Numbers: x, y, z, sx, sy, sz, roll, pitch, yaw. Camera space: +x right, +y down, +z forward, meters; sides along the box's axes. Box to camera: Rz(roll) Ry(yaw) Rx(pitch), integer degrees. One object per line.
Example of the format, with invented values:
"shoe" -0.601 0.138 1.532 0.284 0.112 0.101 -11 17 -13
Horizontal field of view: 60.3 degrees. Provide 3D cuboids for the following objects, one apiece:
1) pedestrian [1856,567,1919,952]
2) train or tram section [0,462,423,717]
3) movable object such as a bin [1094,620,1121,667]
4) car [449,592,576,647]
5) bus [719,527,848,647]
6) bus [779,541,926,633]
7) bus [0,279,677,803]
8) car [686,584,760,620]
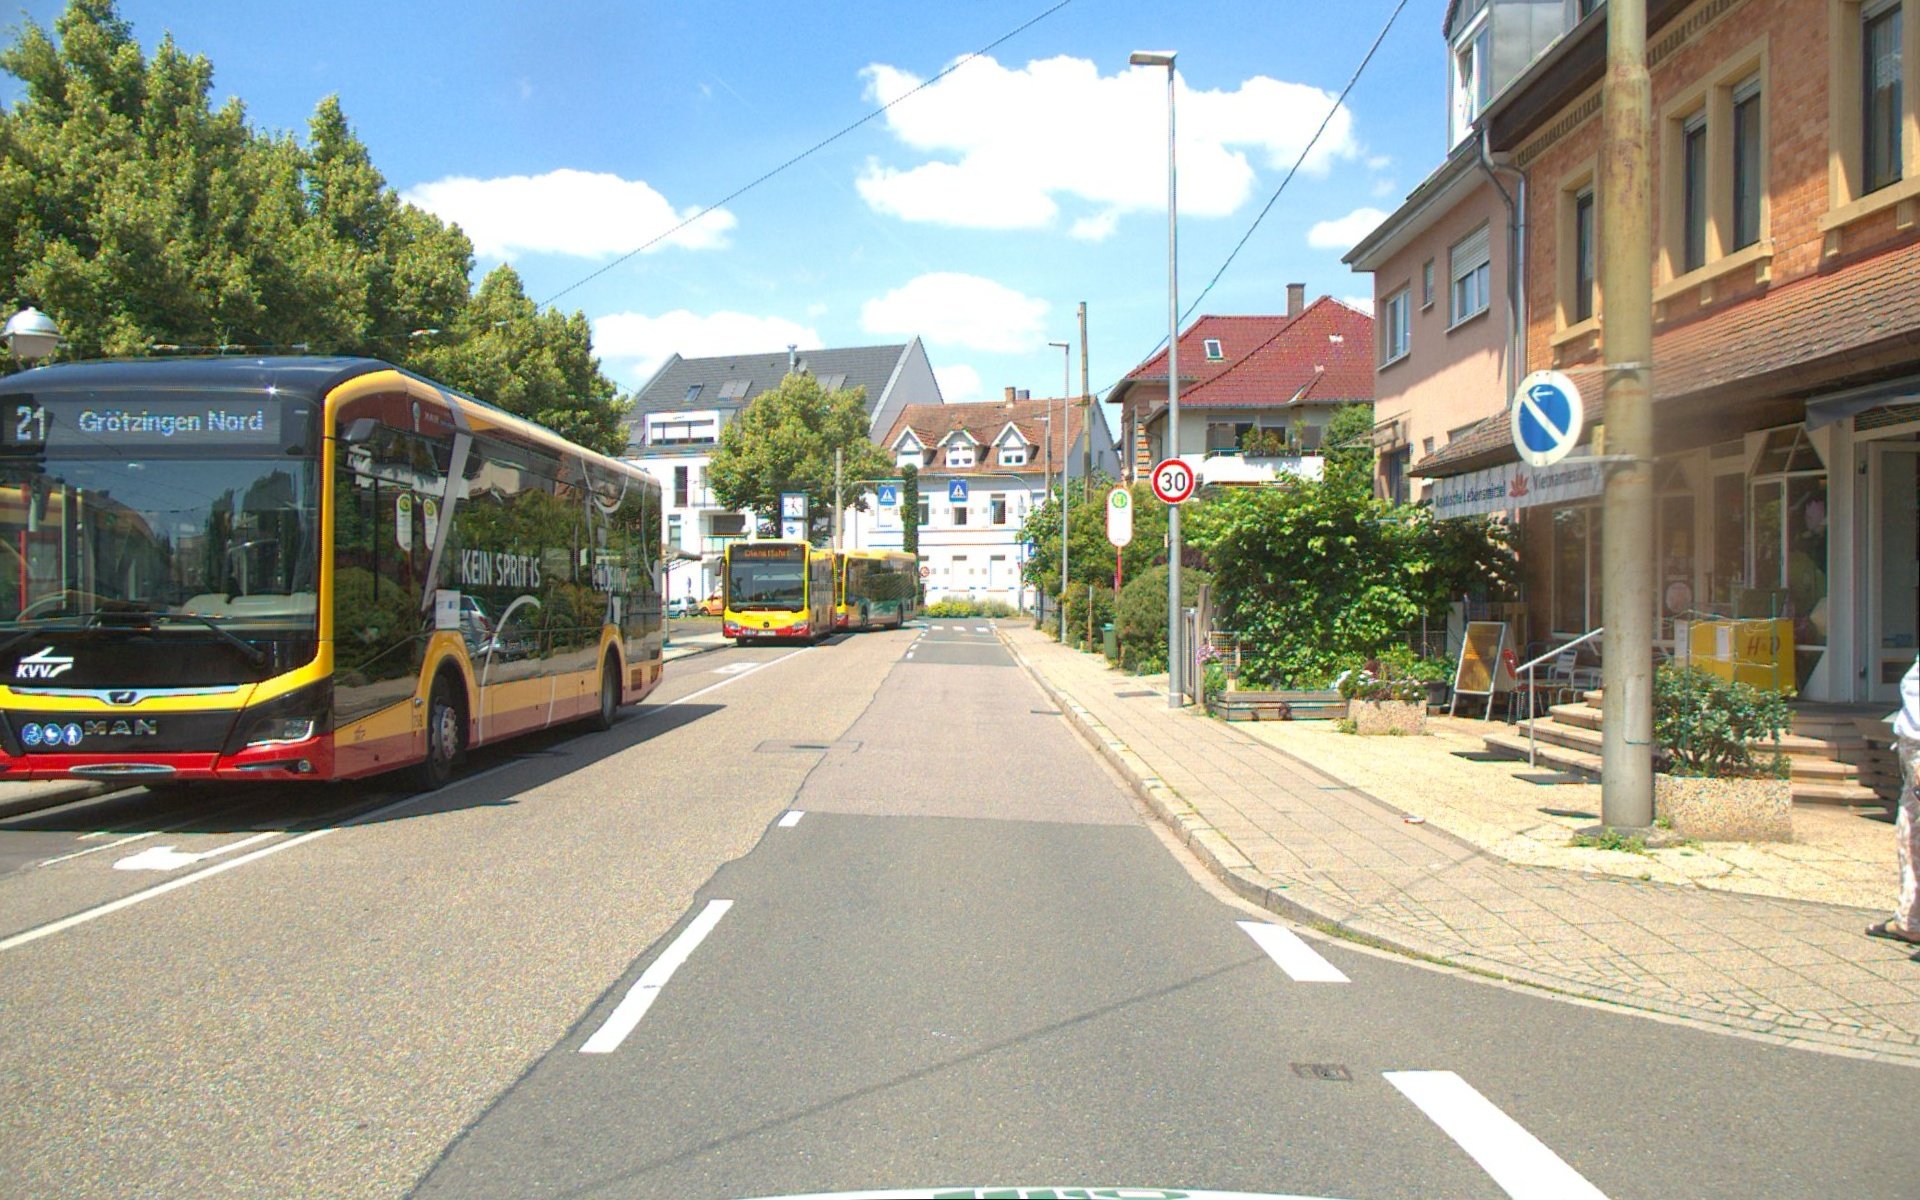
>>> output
"pedestrian" 4.483 0.689 7.439 0.690 1.670 0.660 -1 1 20
"train or tram section" -13.954 -0.152 31.384 2.903 3.706 13.992 2 0 0
"movable object such as a bin" 3.020 0.886 33.806 0.398 0.923 0.729 -3 -1 -3
"car" -12.309 0.546 45.465 3.230 1.397 1.460 2 -1 -21
"bus" -5.424 -0.356 52.963 2.848 3.304 12.116 2 0 -1
"bus" -4.051 -0.548 66.456 2.720 3.264 12.317 2 1 11
"bus" -5.413 -0.270 16.741 2.838 3.304 12.195 2 -1 0
"car" -14.162 0.116 98.768 3.912 2.049 1.996 1 -1 29
